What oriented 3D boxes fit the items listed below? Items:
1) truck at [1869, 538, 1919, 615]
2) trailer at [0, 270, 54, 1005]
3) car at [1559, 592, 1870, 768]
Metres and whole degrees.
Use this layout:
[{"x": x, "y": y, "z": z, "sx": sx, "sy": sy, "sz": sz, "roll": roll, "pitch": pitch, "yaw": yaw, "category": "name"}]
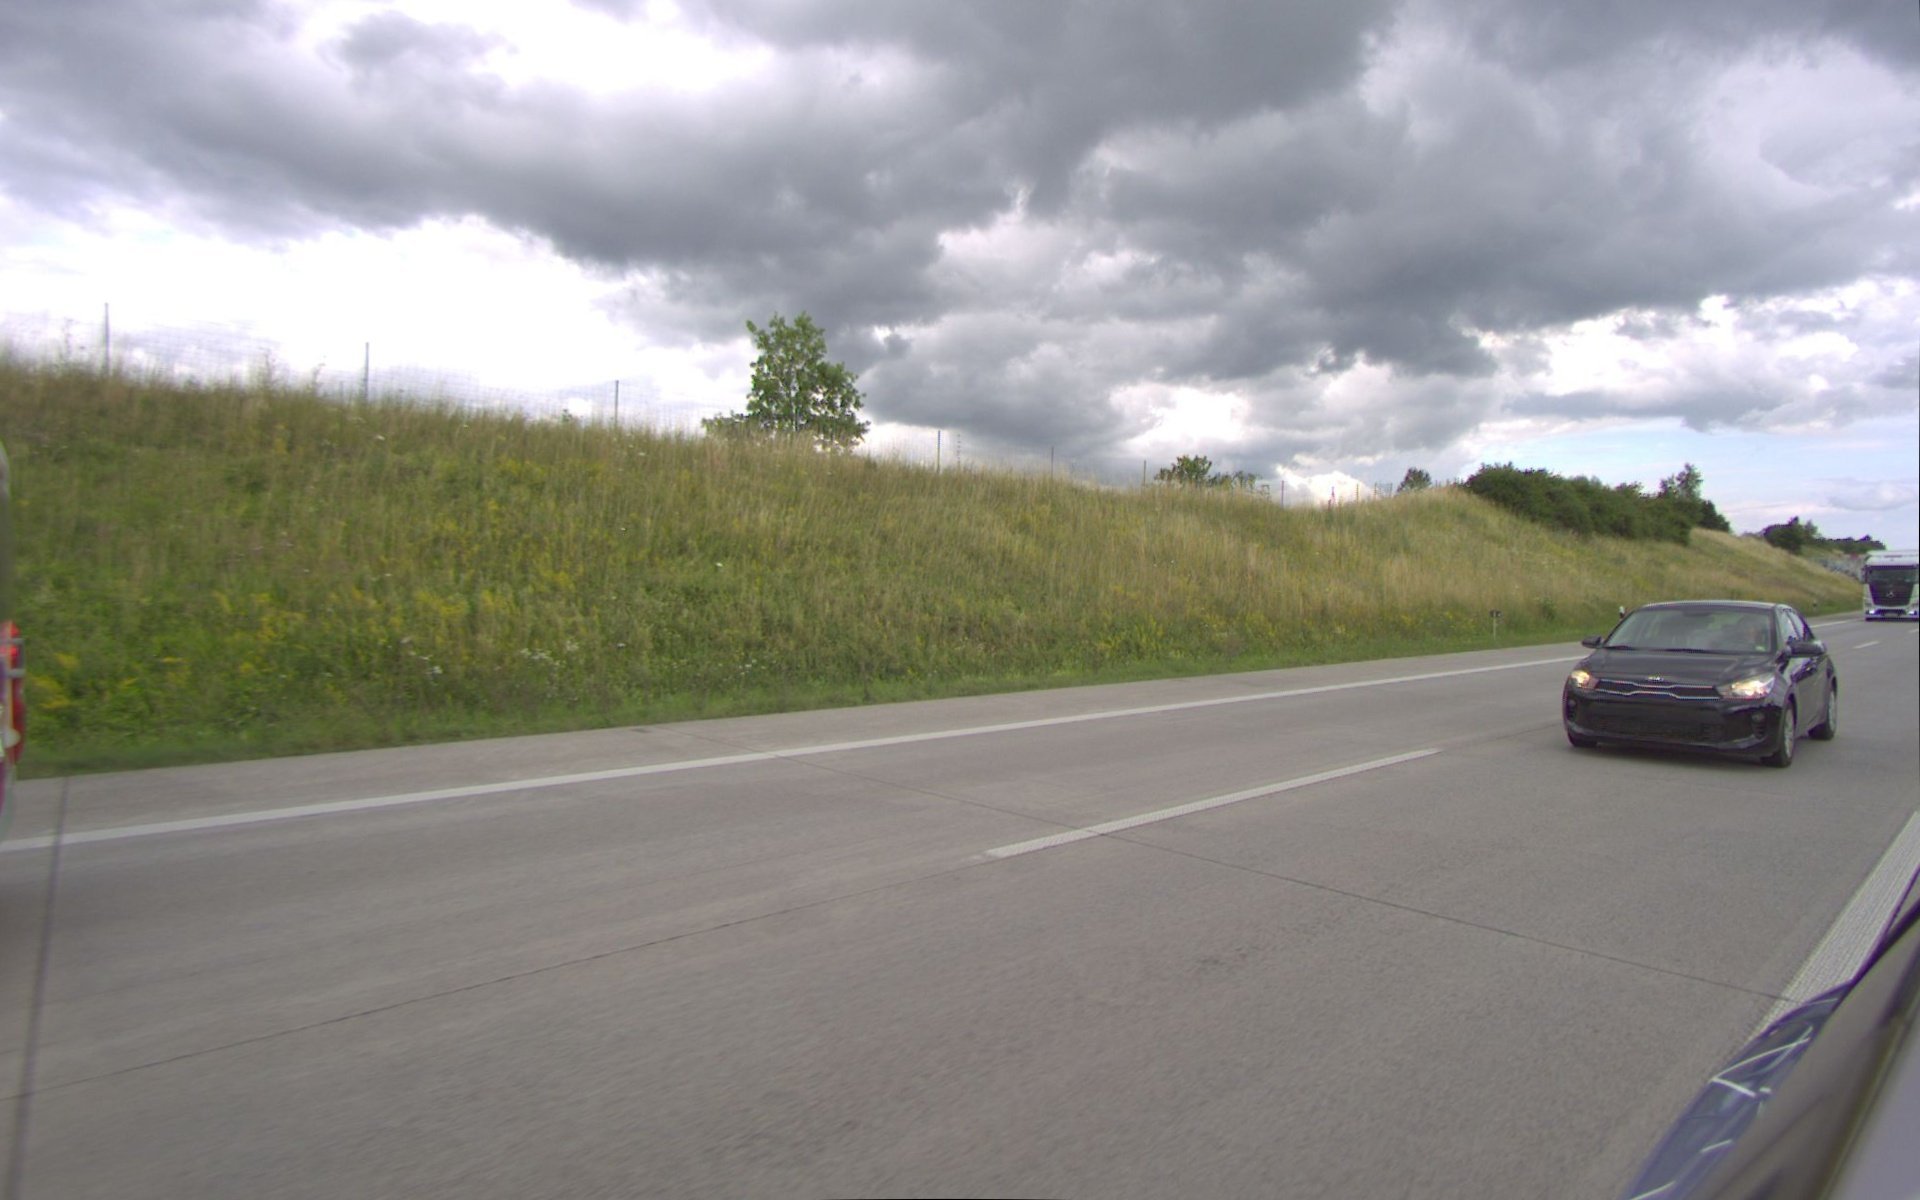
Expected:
[{"x": 56.205, "y": -1.288, "z": 59.566, "sx": 10.523, "sy": 4.253, "sz": 2.852, "roll": 0, "pitch": 0, "yaw": -41, "category": "truck"}, {"x": -6.556, "y": 0.141, "z": 2.362, "sx": 6.607, "sy": 2.566, "sz": 2.612, "roll": -1, "pitch": 1, "yaw": -42, "category": "trailer"}, {"x": 7.754, "y": 0.645, "z": 10.270, "sx": 3.929, "sy": 1.431, "sz": 1.690, "roll": 0, "pitch": 1, "yaw": -40, "category": "car"}]
